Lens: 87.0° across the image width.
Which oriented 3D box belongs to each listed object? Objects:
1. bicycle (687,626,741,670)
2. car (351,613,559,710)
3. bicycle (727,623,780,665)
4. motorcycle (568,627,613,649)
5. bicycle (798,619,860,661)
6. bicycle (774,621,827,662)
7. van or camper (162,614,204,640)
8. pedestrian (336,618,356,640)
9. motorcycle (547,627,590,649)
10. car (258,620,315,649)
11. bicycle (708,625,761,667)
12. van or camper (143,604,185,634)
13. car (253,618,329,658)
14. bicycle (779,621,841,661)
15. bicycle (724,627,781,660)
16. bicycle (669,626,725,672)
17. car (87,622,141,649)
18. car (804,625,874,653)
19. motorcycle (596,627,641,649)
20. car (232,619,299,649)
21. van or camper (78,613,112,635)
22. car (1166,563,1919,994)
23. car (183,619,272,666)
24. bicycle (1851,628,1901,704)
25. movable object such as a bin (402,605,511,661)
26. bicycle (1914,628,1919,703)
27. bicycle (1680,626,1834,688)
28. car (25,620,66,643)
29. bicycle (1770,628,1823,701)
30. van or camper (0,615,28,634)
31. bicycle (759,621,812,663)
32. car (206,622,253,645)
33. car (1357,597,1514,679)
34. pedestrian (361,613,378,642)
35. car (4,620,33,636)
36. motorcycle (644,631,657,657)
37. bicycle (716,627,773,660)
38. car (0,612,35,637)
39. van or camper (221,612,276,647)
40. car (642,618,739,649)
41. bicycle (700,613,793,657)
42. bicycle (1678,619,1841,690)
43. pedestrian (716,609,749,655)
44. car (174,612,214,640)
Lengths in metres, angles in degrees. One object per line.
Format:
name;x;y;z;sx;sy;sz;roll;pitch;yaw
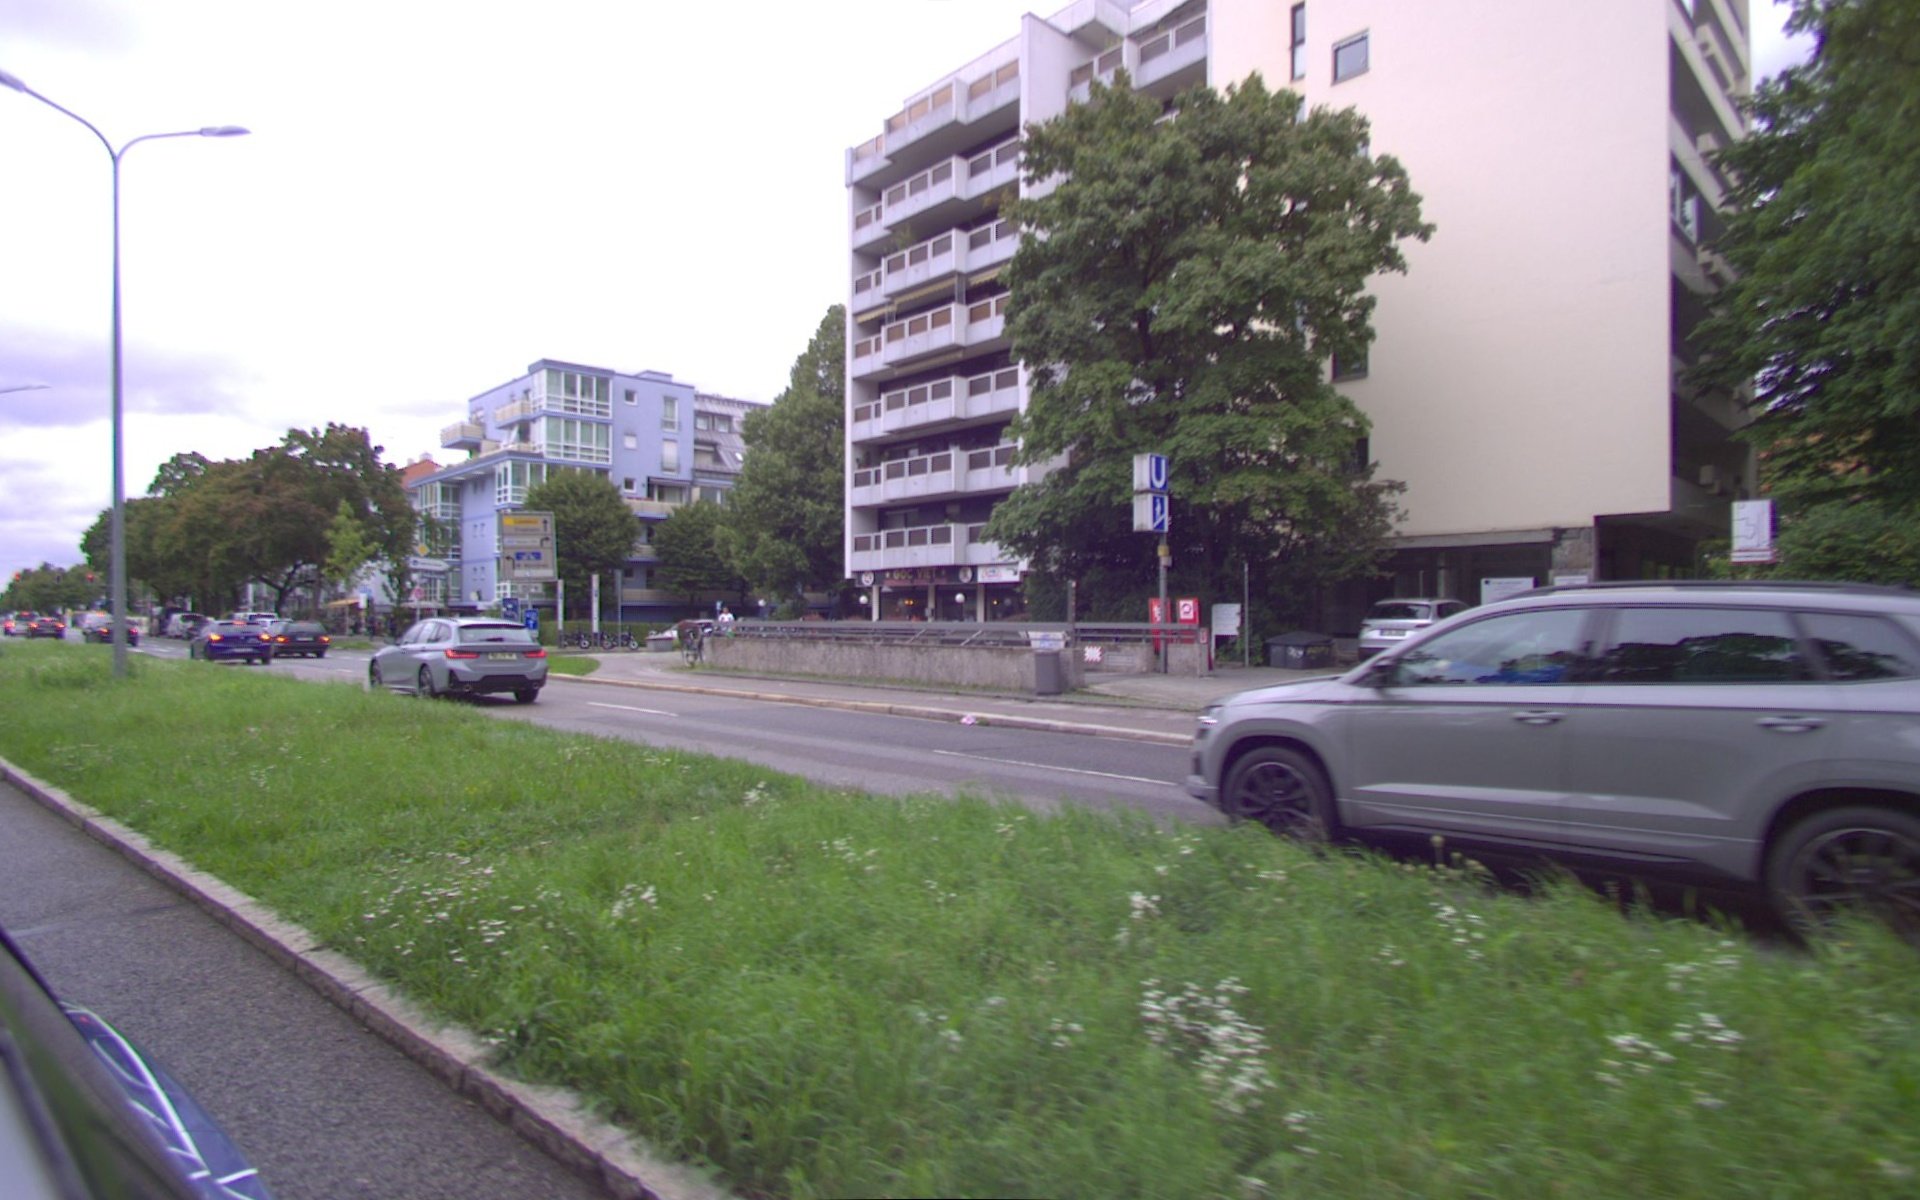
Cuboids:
bicycle;-6.435;1.229;26.396;0.403;1.086;1.956;-4;2;-42
car;-9.072;0.997;17.976;1.893;1.495;4.868;2;-2;-44
bicycle;-5.579;1.173;27.247;0.403;1.080;1.956;-4;2;-42
motorcycle;-19.765;2.025;54.148;2.458;1.141;0.495;0;-2;18
bicycle;-4.047;1.233;31.429;1.924;1.111;0.490;-5;2;-42
bicycle;-4.504;1.156;28.532;0.403;1.105;1.956;-4;2;-42
van or camper;-60.831;2.124;79.189;1.997;1.957;4.707;2;-2;-44
pedestrian;-44.188;2.074;72.877;0.764;1.615;0.966;-1;-2;31
motorcycle;-20.657;1.998;53.355;2.462;1.141;0.494;0;-2;24
car;-35.537;1.807;53.368;3.902;1.501;1.629;-1;-2;43
bicycle;-6.000;1.216;26.898;0.403;1.048;1.956;-4;2;-42
van or camper;-67.571;1.615;85.918;5.550;2.506;2.026;-1;-2;44
car;-26.294;1.464;39.725;3.968;1.495;1.672;-2;-2;44
bicycle;-4.776;1.286;32.293;1.924;1.111;0.561;-5;2;-42
bicycle;-7.191;1.502;35.128;1.924;1.112;0.561;2;-2;-42
bicycle;-6.770;1.237;25.994;0.403;1.097;2.087;-4;2;-42
car;-46.285;1.911;55.323;4.102;1.416;1.762;-1;-2;43
car;-7.725;2.487;65.031;2.000;1.695;4.201;-1;-2;43
motorcycle;-18.577;2.054;55.070;2.456;1.141;0.495;0;-2;17
car;-38.989;1.904;56.787;4.657;1.628;1.683;-1;-2;37
van or camper;-81.864;2.261;95.783;1.992;2.031;5.201;2;-2;-45
car;3.427;0.713;5.329;1.746;1.637;4.379;2;-2;-45
car;-23.710;1.337;32.713;3.968;1.413;1.672;-1;-2;44
bicycle;13.085;0.914;14.445;0.437;1.014;1.742;-1;-2;45
movable object such as a bin;-18.612;1.197;37.386;3.996;1.968;2.171;-1;-2;39
bicycle;13.630;0.894;14.101;0.437;1.014;1.742;-1;-2;45
bicycle;13.818;0.954;17.592;0.572;1.014;2.033;1;-2;-44
car;-62.640;2.144;69.284;1.934;1.491;4.262;2;-2;-44
bicycle;12.395;0.922;14.982;0.437;1.014;1.742;-1;-2;45
van or camper;-89.274;2.294;95.462;1.770;1.811;4.127;2;-2;-44
bicycle;-4.861;1.159;28.164;0.403;1.112;1.956;-4;2;-42
car;-47.067;2.158;65.156;4.336;1.405;1.657;-1;-2;44
car;10.304;0.794;21.803;3.940;1.601;1.750;1;-2;-44
pedestrian;-36.667;1.693;62.846;0.778;1.819;0.636;-1;-2;37
car;-83.233;2.464;89.491;1.770;1.459;3.674;2;-2;-44
motorcycle;-13.265;1.867;43.377;0.412;1.095;1.789;1;-2;-20
bicycle;-7.572;1.519;35.578;1.924;1.112;0.561;2;-2;-42
car;-76.863;2.014;82.503;1.917;2.013;4.707;2;-2;-44
van or camper;-42.672;1.757;60.682;5.213;1.983;1.784;-1;-2;45
car;-15.325;1.902;57.777;2.000;1.695;5.045;-1;-2;43
bicycle;-7.668;1.220;36.494;3.287;1.292;0.789;-5;2;-42
bicycle;13.137;0.868;16.684;0.572;1.107;2.033;1;-2;-44
pedestrian;-8.641;1.200;38.468;1.130;1.721;0.662;-1;-2;39
car;-56.645;1.911;74.840;1.776;2.013;4.549;2;-2;-44
